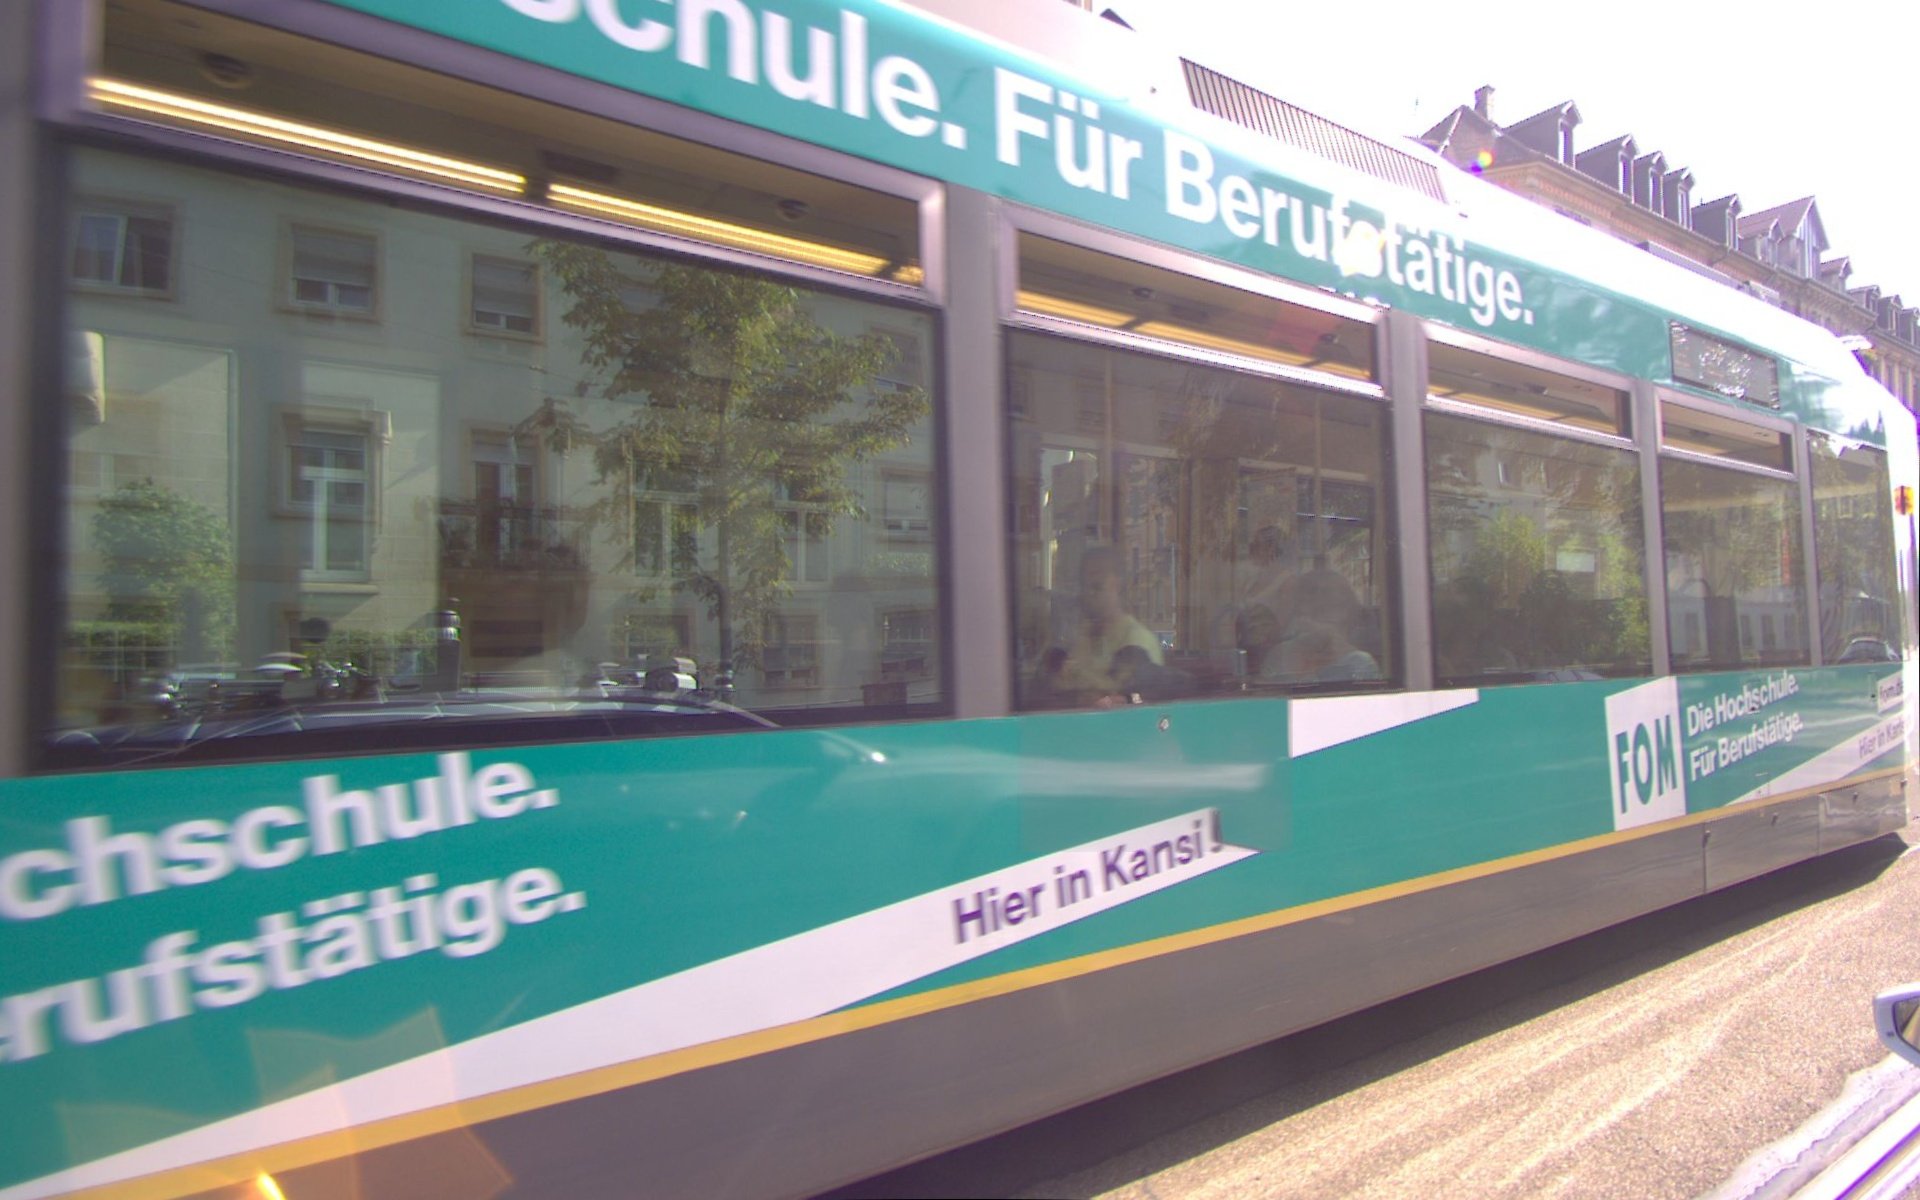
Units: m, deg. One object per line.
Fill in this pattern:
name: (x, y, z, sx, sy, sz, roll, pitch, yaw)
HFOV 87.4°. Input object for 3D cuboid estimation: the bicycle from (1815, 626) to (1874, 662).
bicycle: (28.303, 1.408, 32.166, 0.413, 1.074, 1.348, 1, 1, -35)

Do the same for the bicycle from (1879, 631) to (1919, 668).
bicycle: (29.750, 1.555, 31.772, 1.982, 1.122, 0.505, 1, -1, -33)

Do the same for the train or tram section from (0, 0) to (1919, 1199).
train or tram section: (2.043, -0.269, 5.349, 10.663, 3.552, 2.718, 1, 0, -34)
